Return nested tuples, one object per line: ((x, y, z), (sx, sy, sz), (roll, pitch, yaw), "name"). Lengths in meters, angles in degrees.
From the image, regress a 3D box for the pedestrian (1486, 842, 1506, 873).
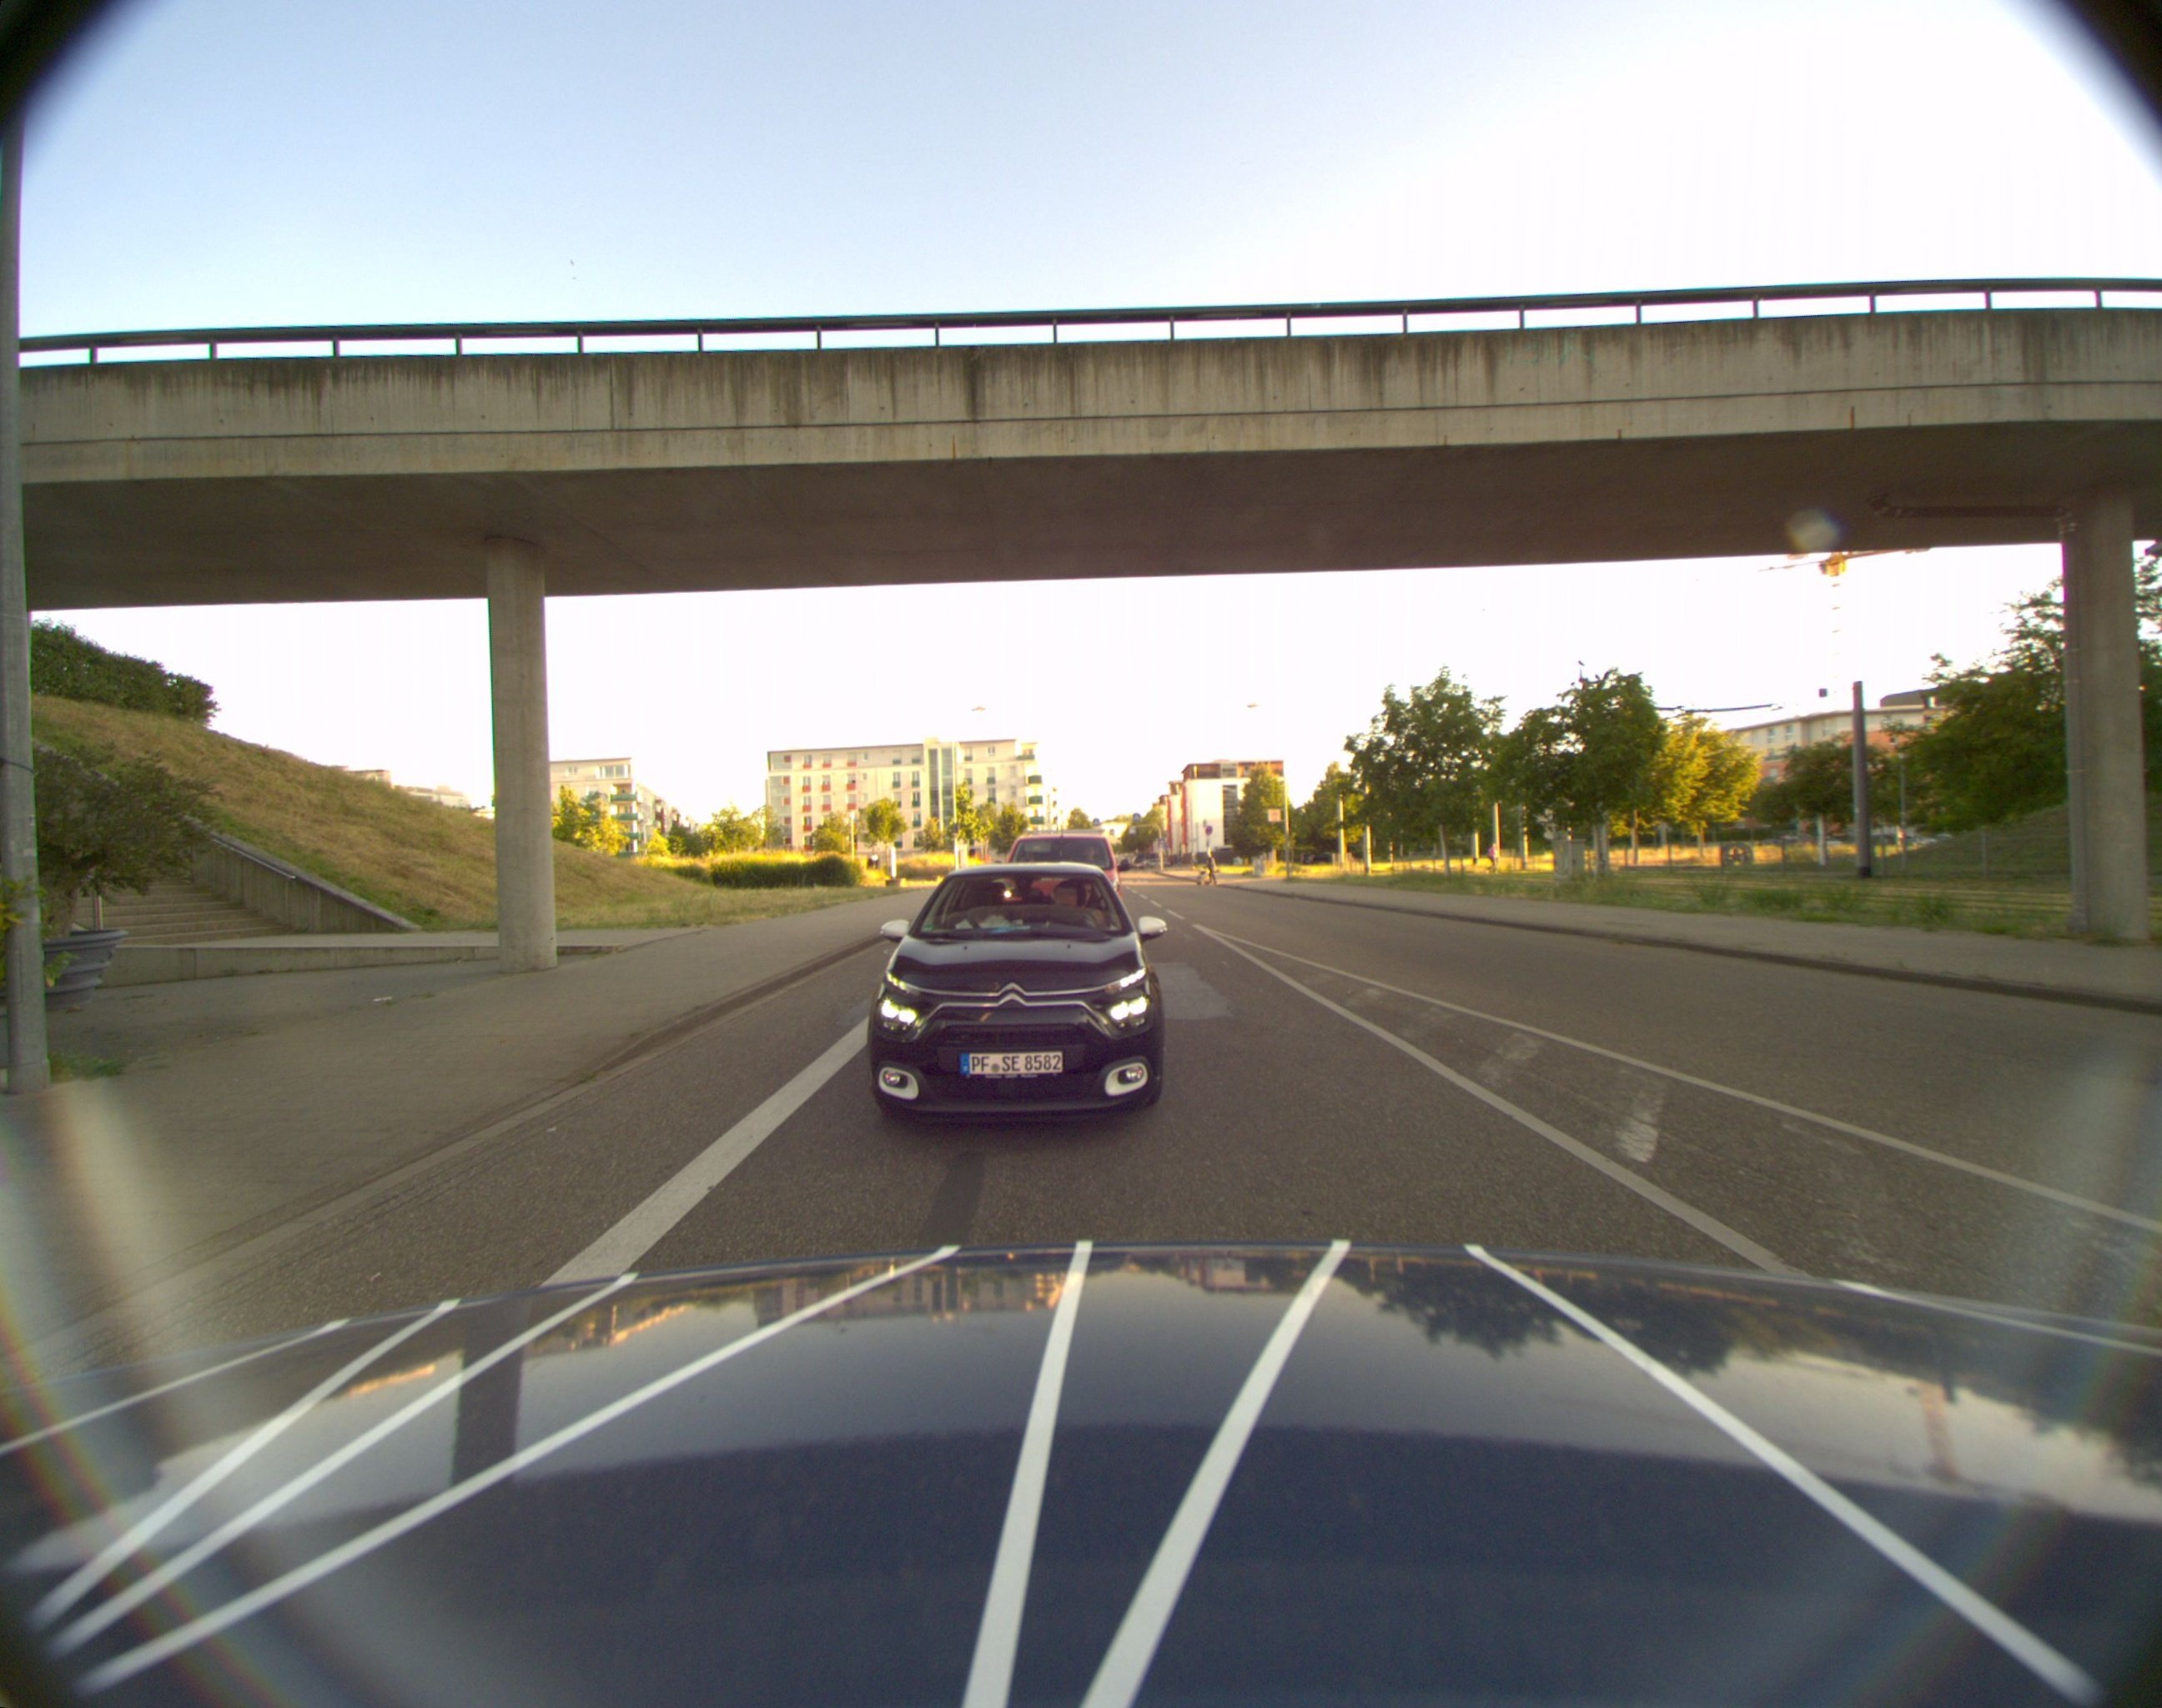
((21.683, 0.183, 39.672), (0.779, 1.602, 0.417), (-2, 0, 12), "pedestrian")

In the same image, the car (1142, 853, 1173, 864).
((11.456, 0.654, 113.993), (4.387, 1.550, 1.839), (-2, 1, 2), "car")

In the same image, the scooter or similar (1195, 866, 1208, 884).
((6.346, 1.099, 39.995), (0.553, 0.890, 0.722), (-1, 1, -1), "scooter or similar")

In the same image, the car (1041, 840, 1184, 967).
((0.348, 0.629, 11.618), (1.760, 1.543, 4.071), (-2, 0, -2), "car")

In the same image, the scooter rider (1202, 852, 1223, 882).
((6.923, 0.678, 39.985), (0.898, 1.568, 0.711), (-2, 0, -1), "scooter rider")

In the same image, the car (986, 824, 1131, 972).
((-0.328, 0.624, 13.018), (1.931, 1.979, 4.822), (-3, 0, -1), "car")

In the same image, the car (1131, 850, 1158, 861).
((12.081, 0.271, 144.171), (4.745, 2.002, 1.999), (-2, 1, -2), "car")

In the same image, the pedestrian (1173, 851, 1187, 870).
((10.908, 0.700, 83.522), (1.088, 2.002, 1.141), (-2, 1, 29), "pedestrian")

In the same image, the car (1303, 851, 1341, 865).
((28.406, 0.483, 89.595), (3.993, 1.554, 2.002), (-2, 0, 11), "car")

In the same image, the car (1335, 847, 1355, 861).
((33.498, -0.053, 96.578), (1.869, 1.710, 3.848), (-2, 0, 12), "car")
